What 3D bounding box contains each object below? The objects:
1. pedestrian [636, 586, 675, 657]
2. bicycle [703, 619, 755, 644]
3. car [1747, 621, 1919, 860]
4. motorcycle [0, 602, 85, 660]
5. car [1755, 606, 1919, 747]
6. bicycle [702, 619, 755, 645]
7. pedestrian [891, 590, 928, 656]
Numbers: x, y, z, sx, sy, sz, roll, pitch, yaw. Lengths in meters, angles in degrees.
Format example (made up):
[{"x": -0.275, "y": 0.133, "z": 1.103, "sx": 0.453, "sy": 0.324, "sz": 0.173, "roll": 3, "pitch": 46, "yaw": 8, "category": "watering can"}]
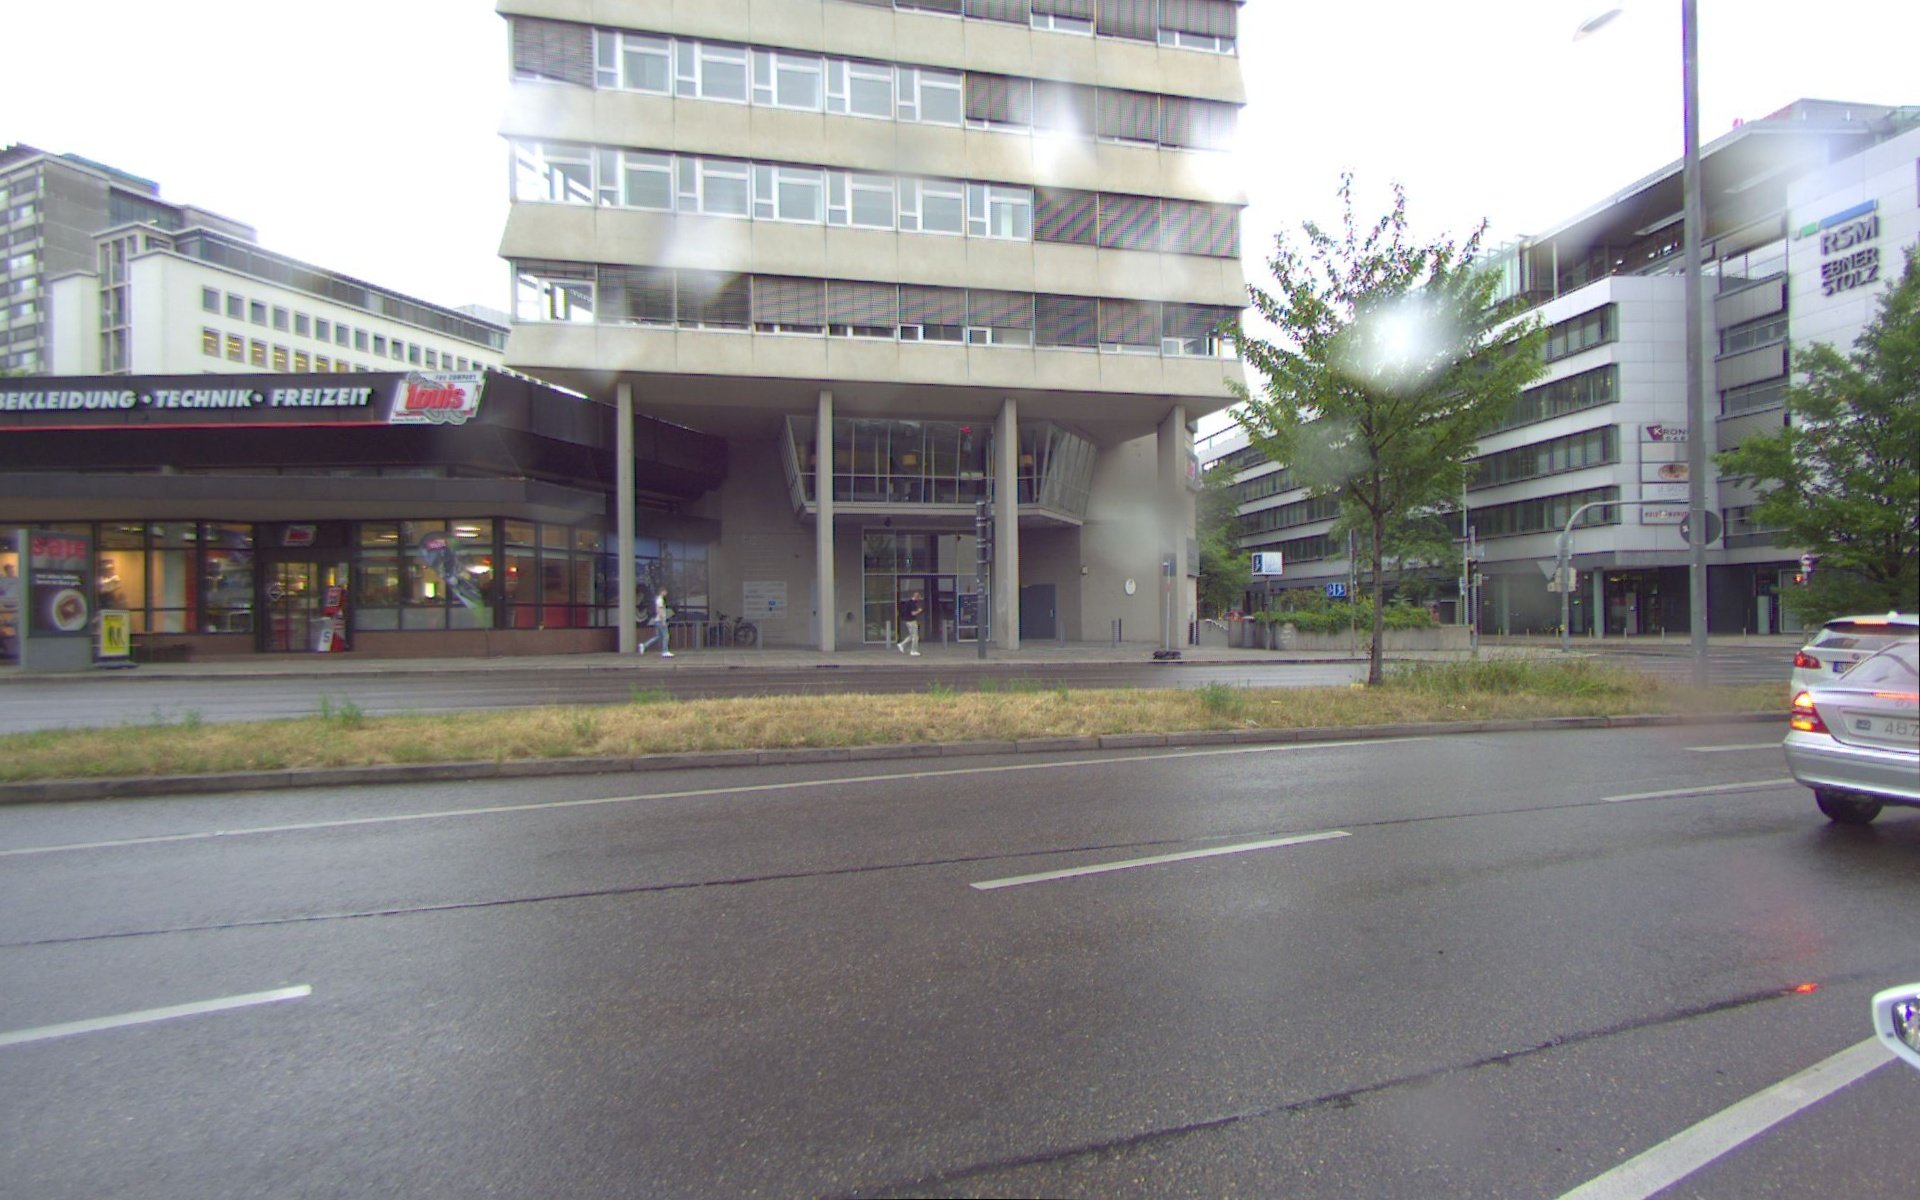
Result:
[{"x": -8.120, "y": 0.574, "z": 26.813, "sx": 0.909, "sy": 1.857, "sz": 0.817, "roll": 0, "pitch": 0, "yaw": -14, "category": "pedestrian"}, {"x": -7.925, "y": 1.091, "z": 34.511, "sx": 1.743, "sy": 0.823, "sz": 0.454, "roll": 1, "pitch": 0, "yaw": -12, "category": "bicycle"}, {"x": 7.927, "y": 0.919, "z": 7.318, "sx": 4.136, "sy": 1.505, "sz": 1.678, "roll": 1, "pitch": -1, "yaw": -23, "category": "car"}, {"x": -23.343, "y": 0.748, "z": 24.829, "sx": 0.788, "sy": 1.392, "sz": 2.894, "roll": 1, "pitch": 0, "yaw": 3, "category": "motorcycle"}, {"x": 12.697, "y": 0.912, "z": 13.038, "sx": 3.936, "sy": 1.617, "sz": 1.883, "roll": 1, "pitch": 0, "yaw": -18, "category": "car"}, {"x": -7.813, "y": 1.090, "z": 33.931, "sx": 1.743, "sy": 0.823, "sz": 0.454, "roll": 1, "pitch": 0, "yaw": -12, "category": "bicycle"}, {"x": -1.427, "y": 0.653, "z": 28.512, "sx": 0.909, "sy": 1.857, "sz": 0.727, "roll": 1, "pitch": -1, "yaw": -14, "category": "pedestrian"}]
